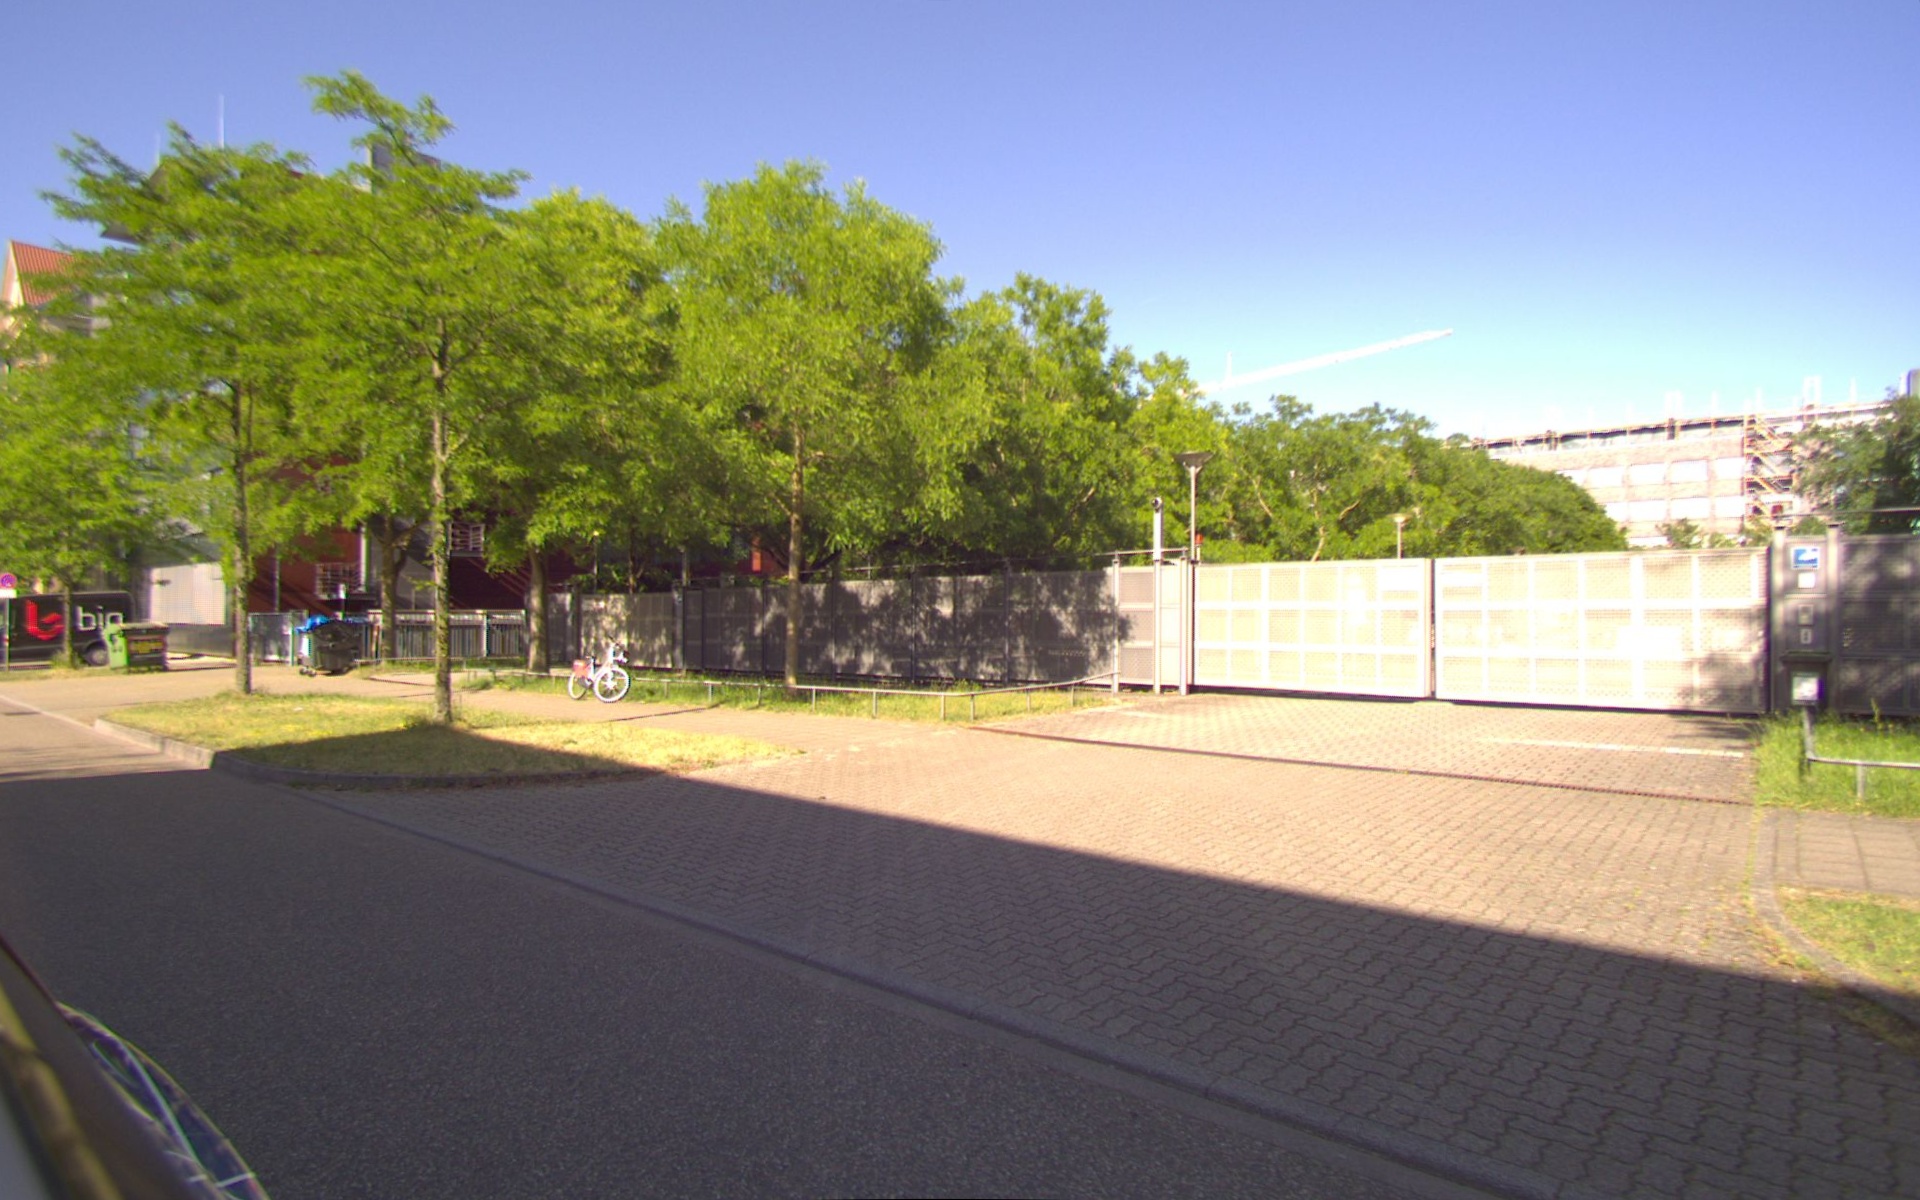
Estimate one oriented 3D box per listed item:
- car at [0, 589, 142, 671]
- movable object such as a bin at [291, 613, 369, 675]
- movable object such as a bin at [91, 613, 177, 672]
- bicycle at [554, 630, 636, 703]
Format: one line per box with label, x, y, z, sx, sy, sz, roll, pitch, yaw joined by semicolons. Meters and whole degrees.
car;-30.871;0.992;33.645;1.985;2.560;5.421;-1;1;39
movable object such as a bin;-16.656;1.135;26.761;1.502;1.580;1.347;0;-1;-45
movable object such as a bin;-23.268;1.182;28.526;1.342;1.580;1.508;-1;-1;31
bicycle;-6.416;1.144;17.759;1.727;1.201;0.594;-1;-1;41
